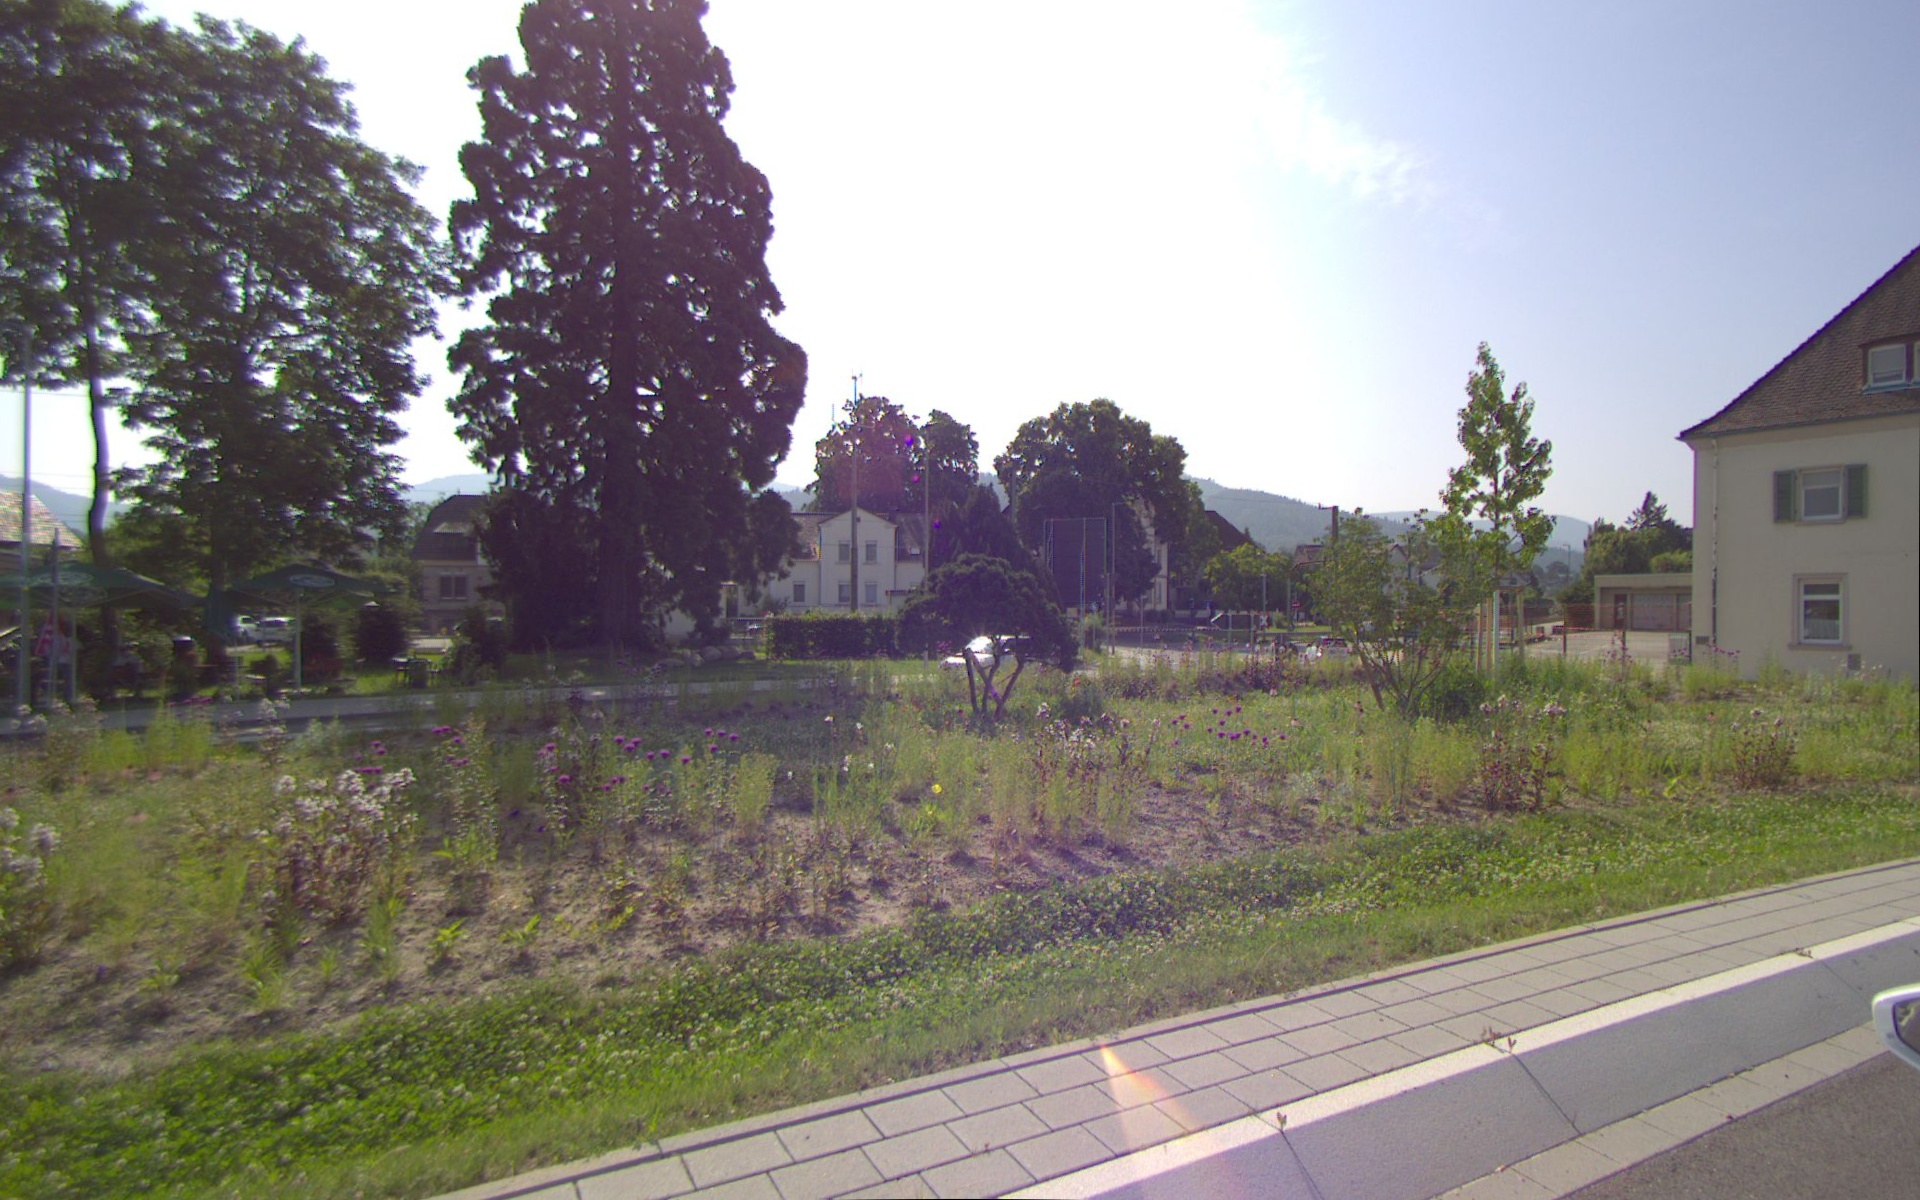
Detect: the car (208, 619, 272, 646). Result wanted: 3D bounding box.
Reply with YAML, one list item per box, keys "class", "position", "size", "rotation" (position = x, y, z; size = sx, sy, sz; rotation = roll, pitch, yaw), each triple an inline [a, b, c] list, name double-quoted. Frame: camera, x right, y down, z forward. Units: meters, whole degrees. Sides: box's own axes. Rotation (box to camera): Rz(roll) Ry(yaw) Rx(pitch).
- class: "car"
  position: [-38.373, 1.685, 53.599]
  size: [1.472, 1.194, 3.523]
  rotation: [0, 2, -13]

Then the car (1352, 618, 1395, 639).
- class: "car"
  position: [31.892, 2.158, 77.425]
  size: [1.690, 1.416, 3.976]
  rotation: [3, 2, 43]

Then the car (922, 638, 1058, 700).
- class: "car"
  position: [0.888, 1.847, 27.970]
  size: [1.651, 1.551, 3.980]
  rotation: [-2, -2, 41]

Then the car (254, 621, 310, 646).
- class: "car"
  position: [-35.892, 1.739, 53.261]
  size: [1.356, 1.112, 3.177]
  rotation: [0, 2, -13]

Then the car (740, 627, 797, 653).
- class: "car"
  position: [-12.571, 2.599, 66.100]
  size: [3.586, 1.515, 1.604]
  rotation: [2, 1, -10]

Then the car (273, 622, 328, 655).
- class: "car"
  position: [-36.175, 2.093, 55.168]
  size: [1.582, 1.515, 3.636]
  rotation: [2, 1, -18]

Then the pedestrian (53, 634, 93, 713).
- class: "pedestrian"
  position: [-19.021, 1.570, 21.547]
  size: [0.641, 1.611, 0.565]
  rotation: [3, 2, 42]

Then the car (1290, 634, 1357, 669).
- class: "car"
  position: [17.889, 2.508, 49.600]
  size: [1.681, 1.416, 3.997]
  rotation: [1, 2, -3]
